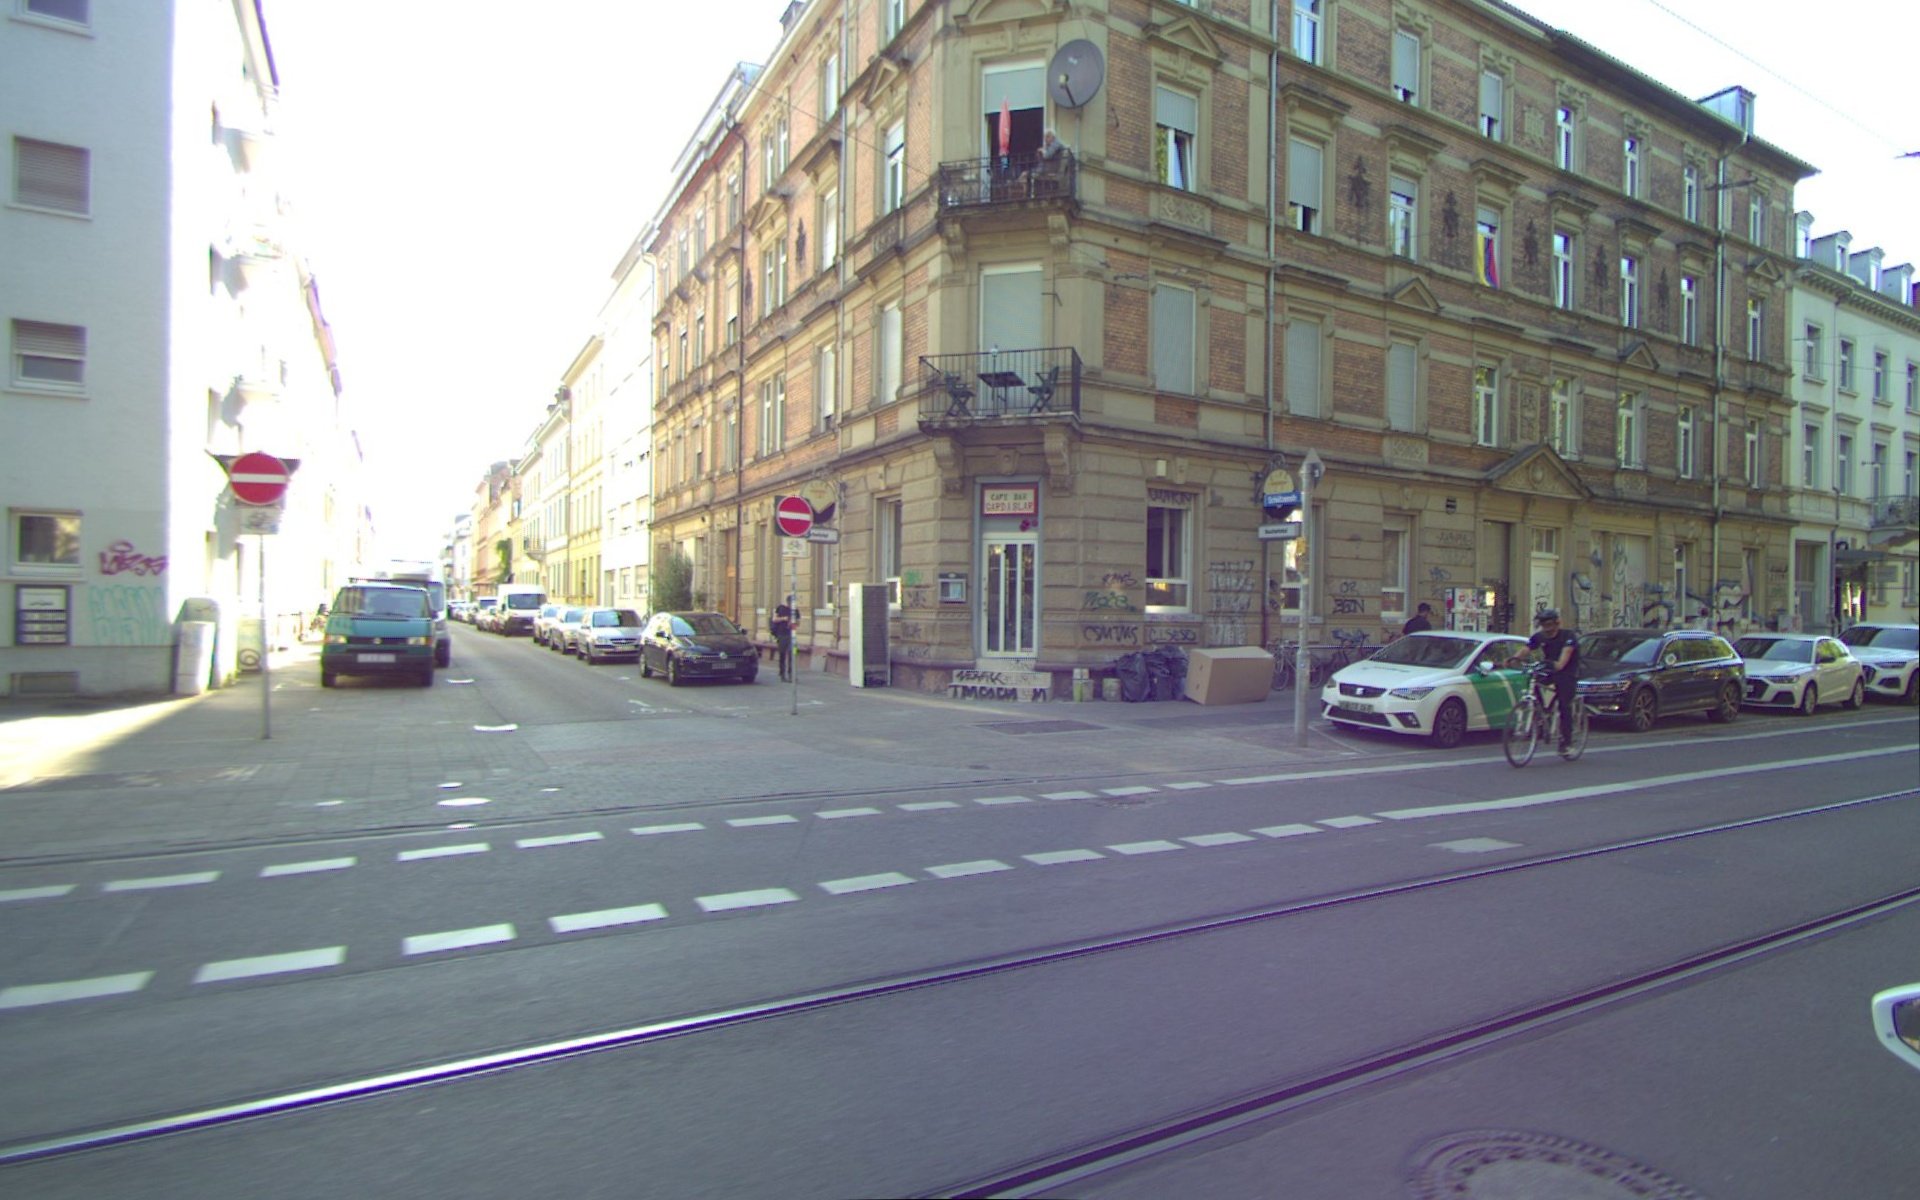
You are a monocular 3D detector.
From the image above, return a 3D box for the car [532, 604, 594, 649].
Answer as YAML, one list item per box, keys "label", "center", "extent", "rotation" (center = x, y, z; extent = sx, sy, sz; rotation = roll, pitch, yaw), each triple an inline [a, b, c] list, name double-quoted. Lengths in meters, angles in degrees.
- label: "car"
  center: [-15.109, 0.966, 38.134]
  extent: [1.832, 1.595, 3.653]
  rotation: [0, 0, -27]

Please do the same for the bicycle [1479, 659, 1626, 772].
- label: "bicycle"
  center: [6.695, 1.253, 11.308]
  extent: [2.206, 1.165, 0.419]
  rotation: [2, -2, -31]

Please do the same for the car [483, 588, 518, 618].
- label: "car"
  center: [-27.503, 0.146, 60.013]
  extent: [1.751, 1.707, 3.932]
  rotation: [1, 1, -27]

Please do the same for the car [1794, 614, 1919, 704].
- label: "car"
  center: [20.372, 1.237, 21.941]
  extent: [4.662, 1.746, 1.778]
  rotation: [1, 1, -30]

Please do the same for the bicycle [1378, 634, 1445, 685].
- label: "bicycle"
  center: [9.718, 1.255, 21.598]
  extent: [1.828, 1.048, 0.370]
  rotation: [1, 0, -33]

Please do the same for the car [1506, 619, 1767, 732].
- label: "car"
  center: [11.263, 1.168, 16.632]
  extent: [4.731, 1.583, 1.732]
  rotation: [1, 1, -31]

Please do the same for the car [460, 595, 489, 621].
- label: "car"
  center: [-34.397, 0.527, 71.161]
  extent: [1.751, 1.707, 3.932]
  rotation: [1, 1, -27]

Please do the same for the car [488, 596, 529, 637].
- label: "car"
  center: [-24.392, 0.881, 54.215]
  extent: [1.823, 2.040, 3.971]
  rotation: [1, 1, -27]

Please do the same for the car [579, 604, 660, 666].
- label: "car"
  center: [-9.512, 0.901, 27.897]
  extent: [1.829, 1.595, 3.658]
  rotation: [0, 0, -24]

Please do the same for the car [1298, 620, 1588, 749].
- label: "car"
  center: [6.798, 1.089, 14.051]
  extent: [3.998, 1.512, 1.732]
  rotation: [1, 1, -31]

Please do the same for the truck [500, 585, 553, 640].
- label: "truck"
  center: [-21.043, 0.592, 48.652]
  extent: [2.065, 2.548, 4.823]
  rotation: [0, 0, -27]

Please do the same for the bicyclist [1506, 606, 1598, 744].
- label: "bicyclist"
  center: [6.692, 0.829, 11.357]
  extent: [0.797, 1.501, 0.580]
  rotation: [1, -1, -30]

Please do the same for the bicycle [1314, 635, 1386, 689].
- label: "bicycle"
  center: [7.978, 1.256, 20.510]
  extent: [1.828, 1.048, 0.370]
  rotation: [1, 0, -33]

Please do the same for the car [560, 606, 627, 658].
- label: "car"
  center: [-11.964, 0.983, 32.649]
  extent: [1.829, 1.595, 3.658]
  rotation: [0, 0, -24]

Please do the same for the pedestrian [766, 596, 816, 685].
- label: "pedestrian"
  center: [-3.471, 0.814, 20.594]
  extent: [0.881, 1.772, 0.654]
  rotation: [0, 1, -26]

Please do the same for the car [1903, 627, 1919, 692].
- label: "car"
  center: [24.974, 1.472, 24.671]
  extent: [4.019, 1.541, 1.653]
  rotation: [1, 1, -32]

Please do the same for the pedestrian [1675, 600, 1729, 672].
- label: "pedestrian"
  center: [17.920, 0.848, 24.271]
  extent: [0.753, 1.687, 0.665]
  rotation: [2, 1, 2]

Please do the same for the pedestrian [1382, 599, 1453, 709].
- label: "pedestrian"
  center: [7.857, 0.903, 17.245]
  extent: [1.048, 1.825, 0.678]
  rotation: [1, 1, -39]

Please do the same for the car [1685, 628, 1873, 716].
- label: "car"
  center: [15.712, 1.304, 19.234]
  extent: [3.958, 1.439, 1.689]
  rotation: [1, 1, -34]

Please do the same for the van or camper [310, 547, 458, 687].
- label: "van or camper"
  center: [-11.294, 0.341, 20.054]
  extent: [1.993, 2.418, 5.089]
  rotation: [1, -1, -24]

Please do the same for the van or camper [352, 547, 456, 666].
- label: "van or camper"
  center: [-14.372, 0.171, 25.988]
  extent: [2.131, 2.705, 5.964]
  rotation: [0, 0, -29]

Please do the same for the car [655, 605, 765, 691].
- label: "car"
  center: [-5.238, 0.913, 20.785]
  extent: [1.697, 1.606, 3.163]
  rotation: [-1, 0, -24]
